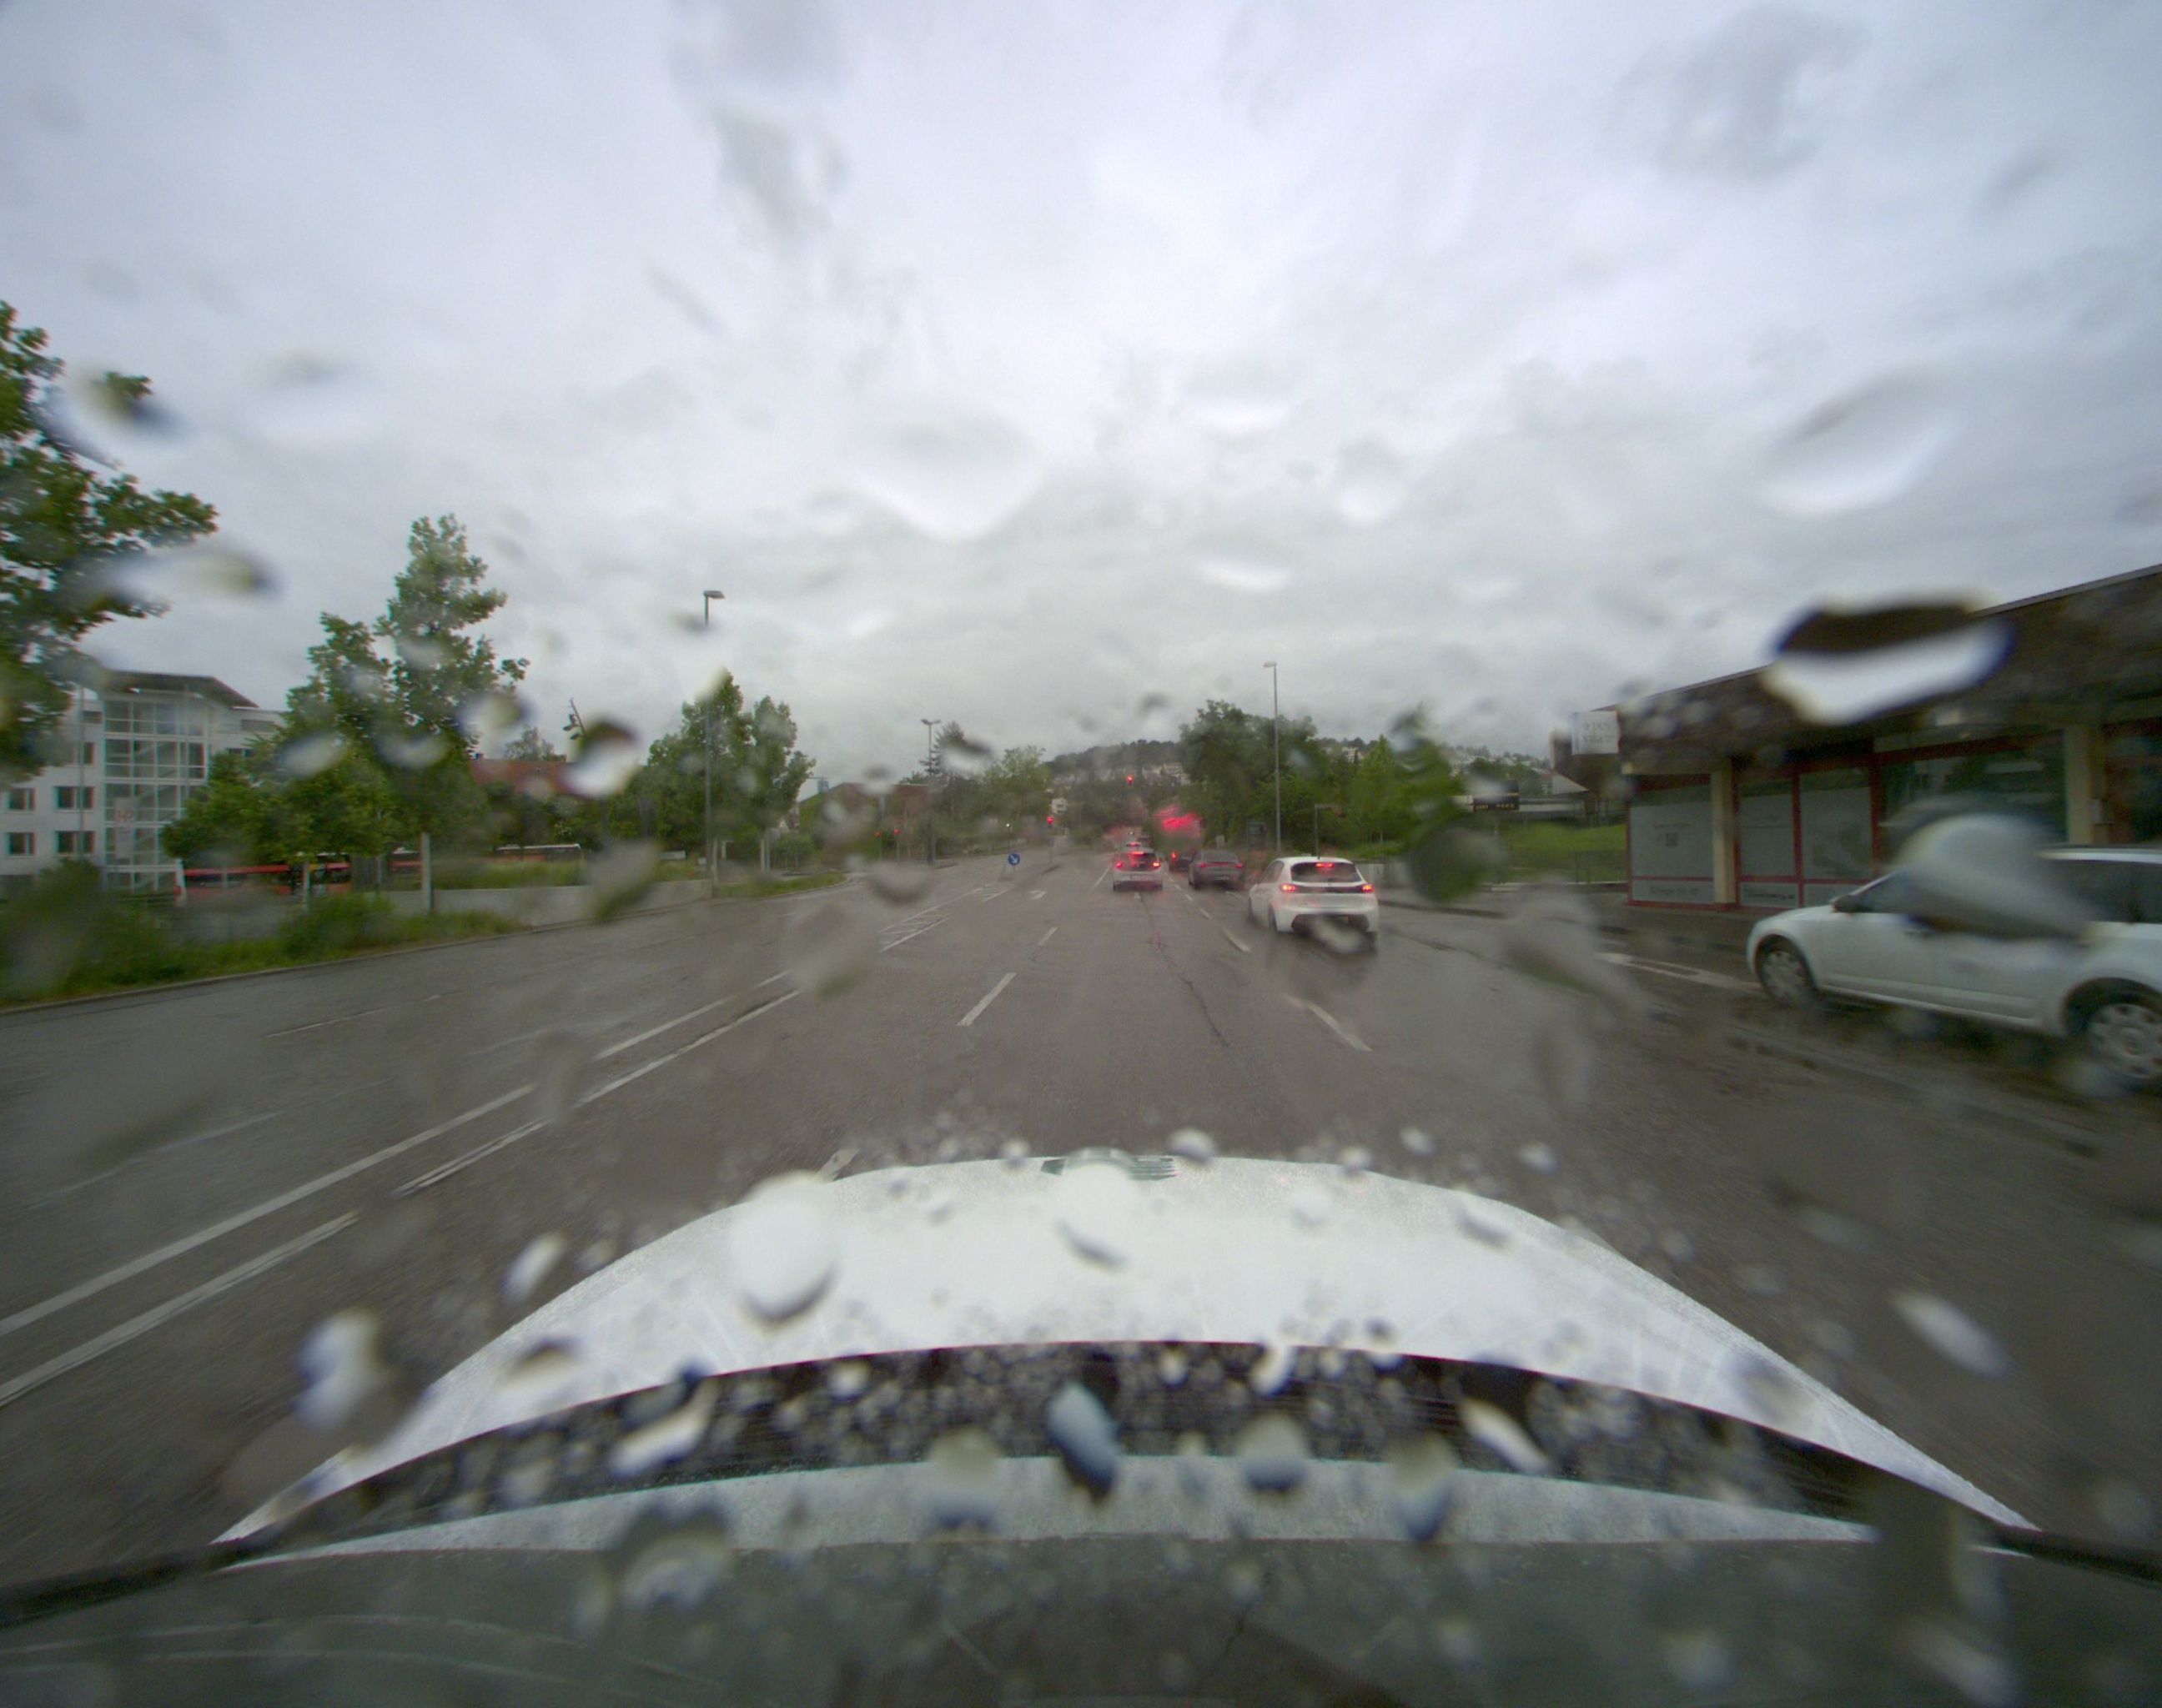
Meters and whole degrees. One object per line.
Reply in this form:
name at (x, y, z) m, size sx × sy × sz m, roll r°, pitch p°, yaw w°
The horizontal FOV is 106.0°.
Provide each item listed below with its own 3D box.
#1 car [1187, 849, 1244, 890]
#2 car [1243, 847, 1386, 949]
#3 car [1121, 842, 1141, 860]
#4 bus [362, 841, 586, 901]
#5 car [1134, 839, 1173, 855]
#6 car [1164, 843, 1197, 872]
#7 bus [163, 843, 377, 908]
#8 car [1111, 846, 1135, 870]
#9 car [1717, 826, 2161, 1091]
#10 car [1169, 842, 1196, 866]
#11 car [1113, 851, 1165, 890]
car at (5.112, 0.553, 31.317) m, size 1.727 × 1.387 × 3.354 m, roll 0°, pitch 2°, yaw 1°
car at (4.037, 0.670, 14.697) m, size 1.683 × 1.519 × 3.937 m, roll 0°, pitch 1°, yaw 4°
car at (3.672, -0.215, 60.099) m, size 1.379 × 1.126 × 2.613 m, roll -2°, pitch -2°, yaw 4°
bus at (-36.177, 0.971, 49.186) m, size 10.432 × 3.281 × 2.837 m, roll -1°, pitch -3°, yaw -27°
car at (7.517, -0.722, 84.361) m, size 3.538 × 1.569 × 1.782 m, roll -1°, pitch -3°, yaw -31°
car at (5.689, 0.206, 46.794) m, size 1.641 × 1.485 × 3.368 m, roll -2°, pitch -2°, yaw 3°
bus at (-44.210, 1.162, 44.804) m, size 7.859 × 3.281 × 2.717 m, roll -1°, pitch -3°, yaw -28°
car at (2.227, 0.247, 43.463) m, size 1.208 × 1.156 × 2.270 m, roll -2°, pitch -3°, yaw 1°
car at (7.208, 0.581, 6.060) m, size 1.722 × 1.497 × 4.487 m, roll -3°, pitch 0°, yaw 5°
car at (6.837, 0.044, 55.182) m, size 1.558 × 1.397 × 3.961 m, roll -2°, pitch -2°, yaw 4°
car at (2.095, 0.603, 29.900) m, size 1.734 × 1.296 × 3.336 m, roll -2°, pitch -1°, yaw 3°
